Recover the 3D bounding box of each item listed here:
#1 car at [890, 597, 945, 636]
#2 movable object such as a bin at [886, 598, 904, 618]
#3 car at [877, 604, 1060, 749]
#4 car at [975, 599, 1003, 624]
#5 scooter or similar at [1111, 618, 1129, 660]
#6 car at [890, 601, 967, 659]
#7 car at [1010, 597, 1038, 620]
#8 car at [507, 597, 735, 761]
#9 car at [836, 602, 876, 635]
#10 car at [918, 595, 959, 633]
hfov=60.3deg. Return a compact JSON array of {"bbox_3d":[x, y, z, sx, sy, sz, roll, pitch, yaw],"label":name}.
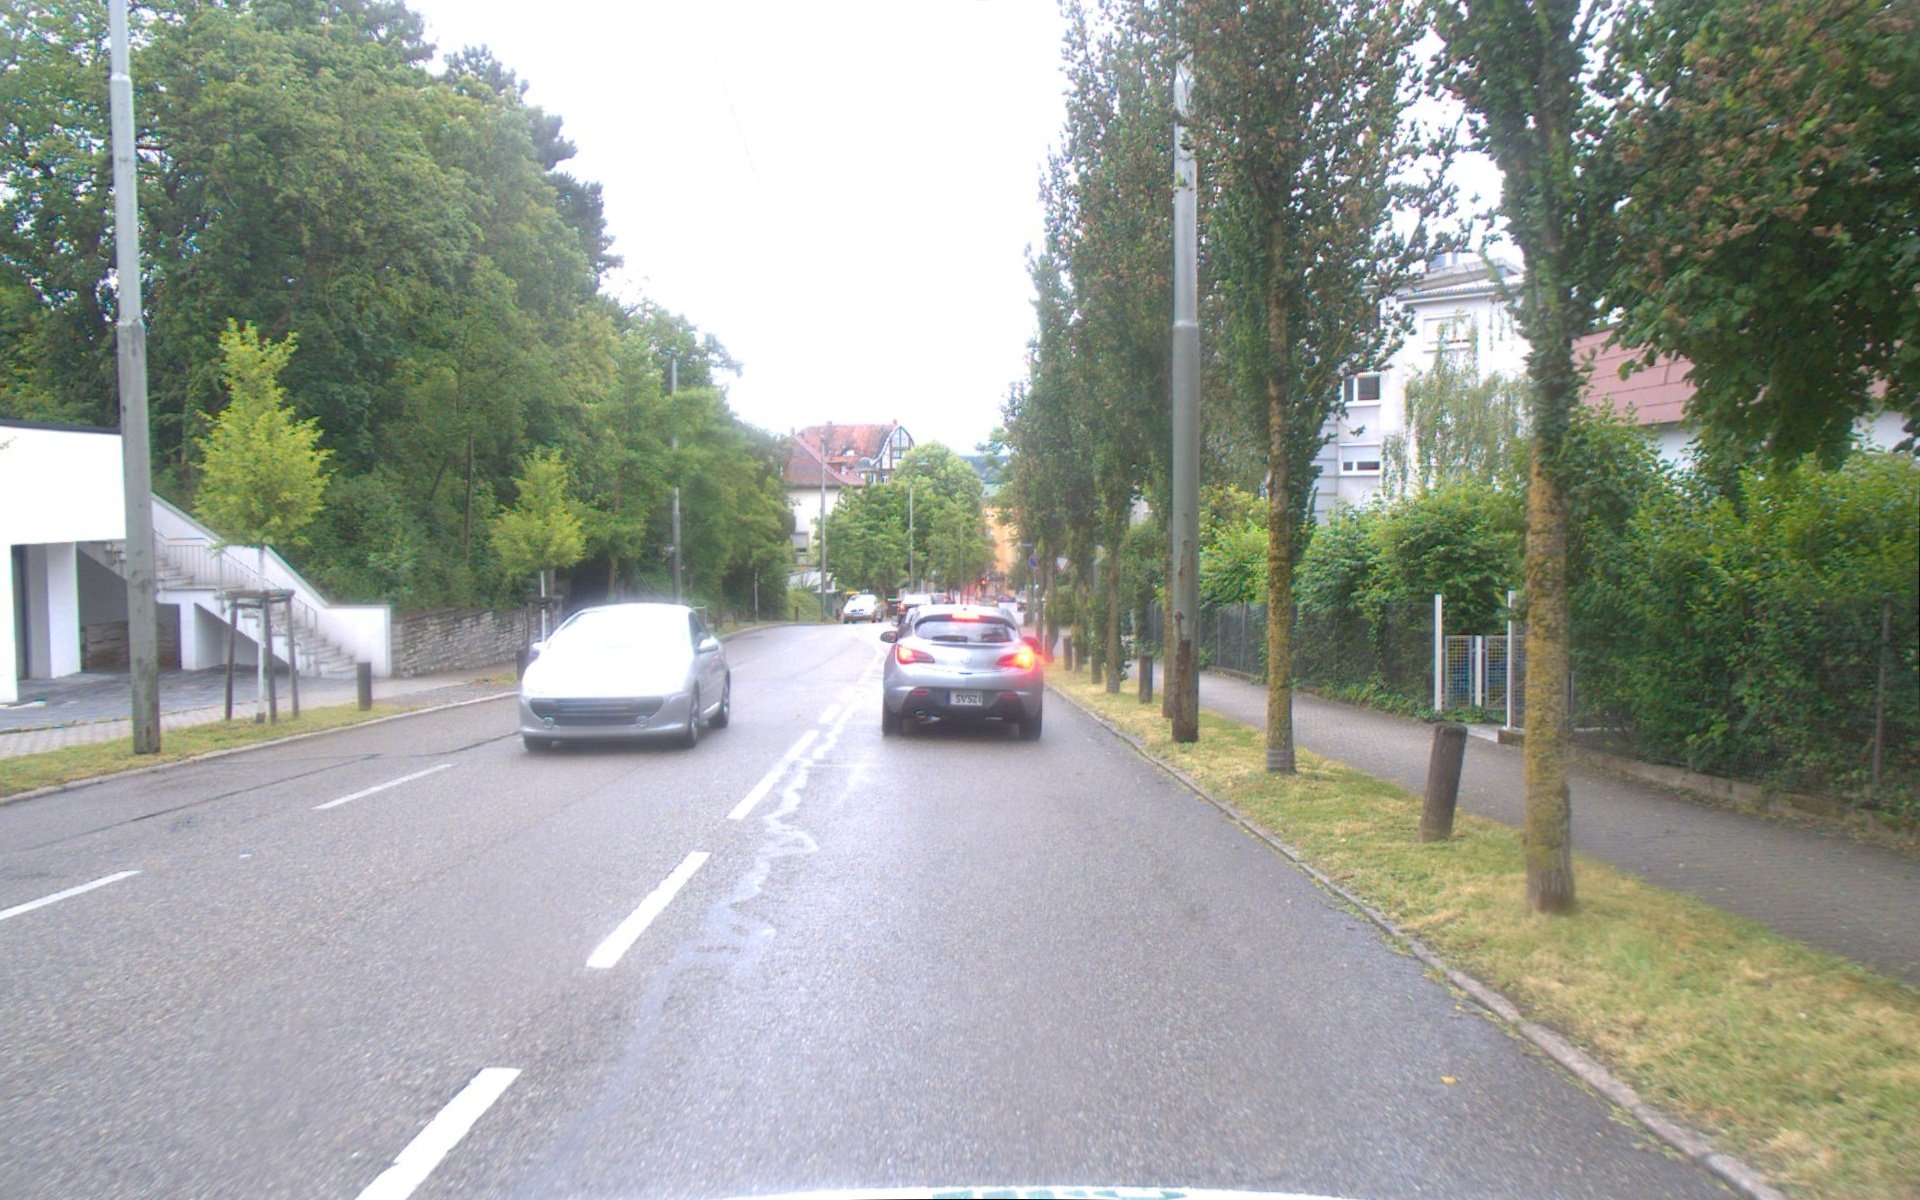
[{"bbox_3d":[-1.796,0.706,71.665,1.920,1.497,3.953,3,1,4],"label":"car"},{"bbox_3d":[-4.579,0.568,116.532,1.245,1.411,0.489,1,1,4],"label":"movable object such as a bin"},{"bbox_3d":[0.068,0.832,19.649,1.906,1.457,3.883,3,0,-1],"label":"car"},{"bbox_3d":[2.179,0.842,122.619,1.717,1.679,4.002,3,0,4],"label":"car"},{"bbox_3d":[4.987,1.214,51.600,0.336,1.276,1.267,3,-1,-2],"label":"scooter or similar"},{"bbox_3d":[-0.741,0.731,41.812,1.760,1.346,4.000,1,0,1],"label":"car"},{"bbox_3d":[6.195,0.820,160.265,2.285,2.071,4.738,3,1,7],"label":"car"},{"bbox_3d":[-3.471,0.765,17.633,1.726,1.512,3.998,-1,0,-2],"label":"car"},{"bbox_3d":[-5.301,0.940,84.784,1.728,1.512,3.802,-2,1,1],"label":"car"},{"bbox_3d":[-1.136,0.728,88.196,1.731,1.812,3.979,3,1,4],"label":"car"}]
